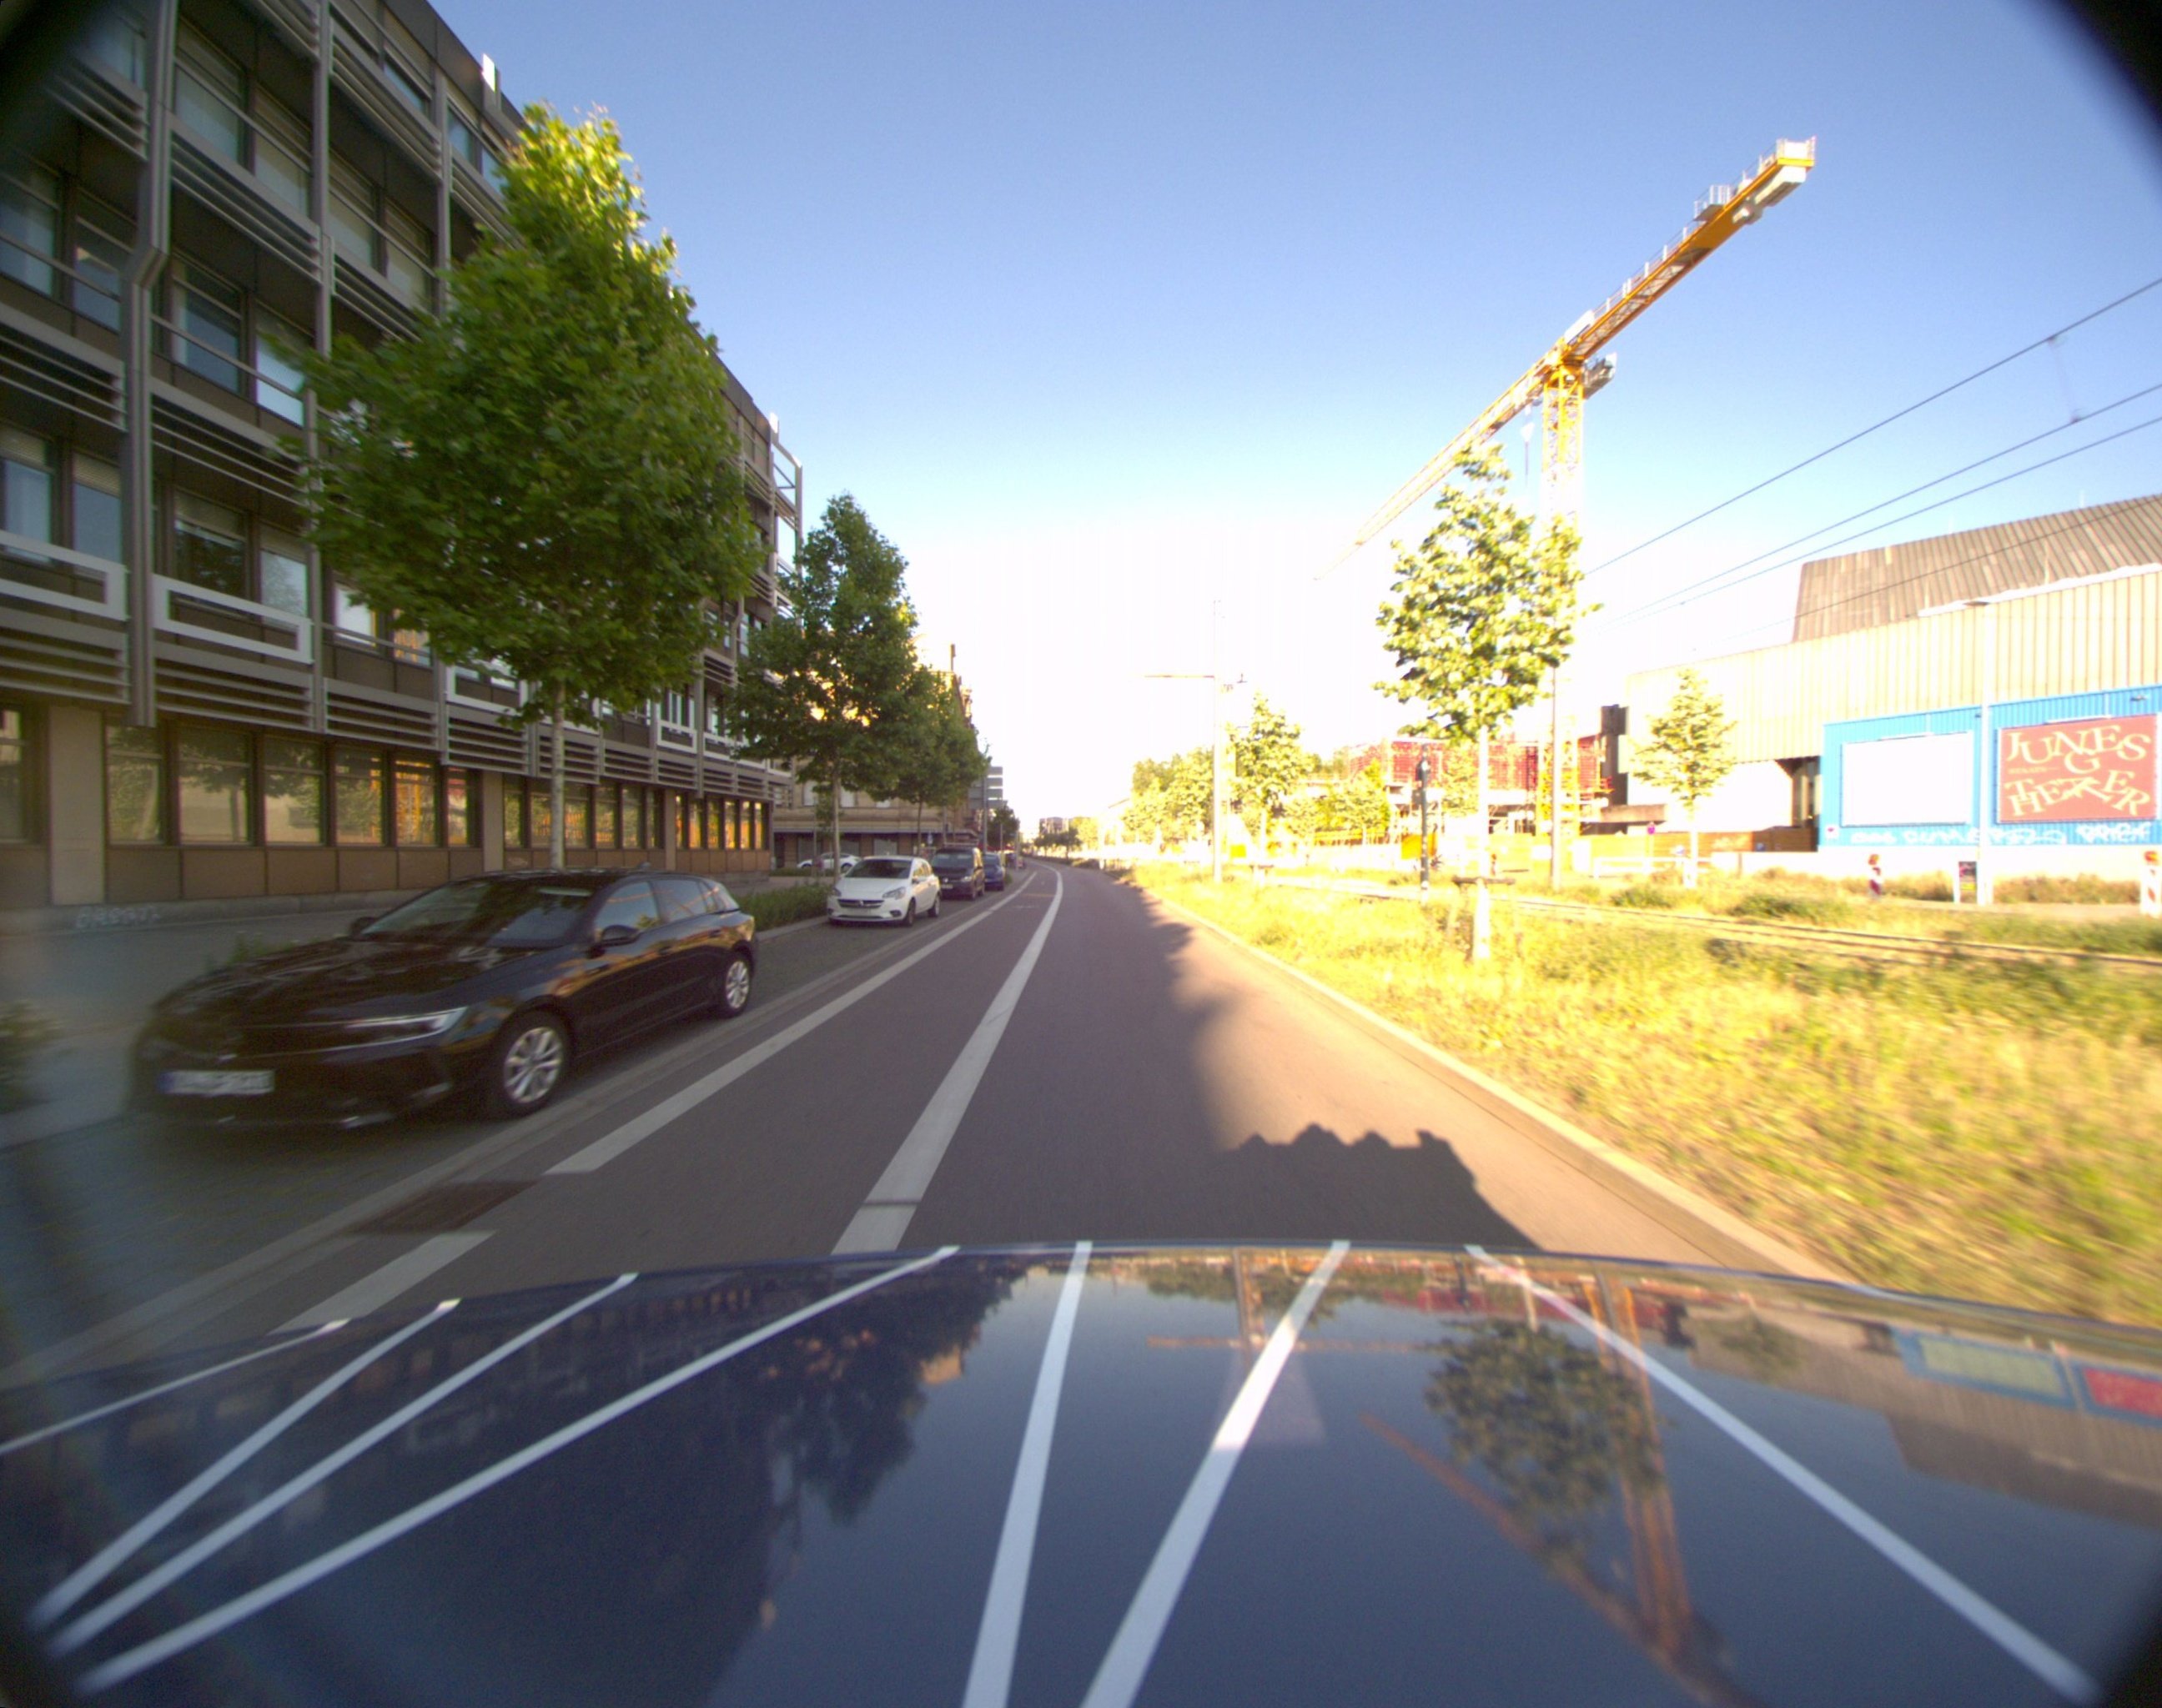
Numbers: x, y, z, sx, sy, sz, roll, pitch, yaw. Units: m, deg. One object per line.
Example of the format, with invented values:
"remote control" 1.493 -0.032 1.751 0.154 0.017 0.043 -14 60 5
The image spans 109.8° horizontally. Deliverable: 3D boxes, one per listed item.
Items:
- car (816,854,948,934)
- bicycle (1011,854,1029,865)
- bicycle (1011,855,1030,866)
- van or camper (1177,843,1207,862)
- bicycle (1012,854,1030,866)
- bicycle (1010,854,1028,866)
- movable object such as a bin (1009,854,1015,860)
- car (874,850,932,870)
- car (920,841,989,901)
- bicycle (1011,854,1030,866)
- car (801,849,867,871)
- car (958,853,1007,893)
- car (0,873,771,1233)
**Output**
"car" -4.230 0.778 16.835 1.667 1.481 4.204 2 0 2
"bicycle" -6.584 0.608 81.940 1.809 1.041 0.566 2 1 0
"bicycle" -6.414 0.643 80.439 1.849 1.098 0.566 2 1 0
"van or camper" 15.060 -0.184 103.554 2.228 2.495 7.197 2 0 -6
"bicycle" -6.024 0.622 76.050 1.758 1.098 0.507 2 1 0
"bicycle" -6.303 0.596 77.342 1.726 1.098 0.507 2 1 0
"movable object such as a bin" -10.211 0.480 112.816 0.676 0.919 0.561 3 2 14
"car" -13.715 0.473 58.895 4.276 1.442 1.861 -1 2 -10
"car" -4.348 0.542 26.697 1.739 1.908 4.392 2 0 -1
"bicycle" -5.995 0.627 75.489 1.758 1.098 0.507 2 1 0
"car" -18.754 0.461 57.959 4.555 1.586 1.861 -1 2 -10
"car" -4.327 0.776 33.909 1.937 1.589 4.696 2 0 -5
"car" -4.141 0.944 5.595 1.799 1.441 4.376 2 0 1
